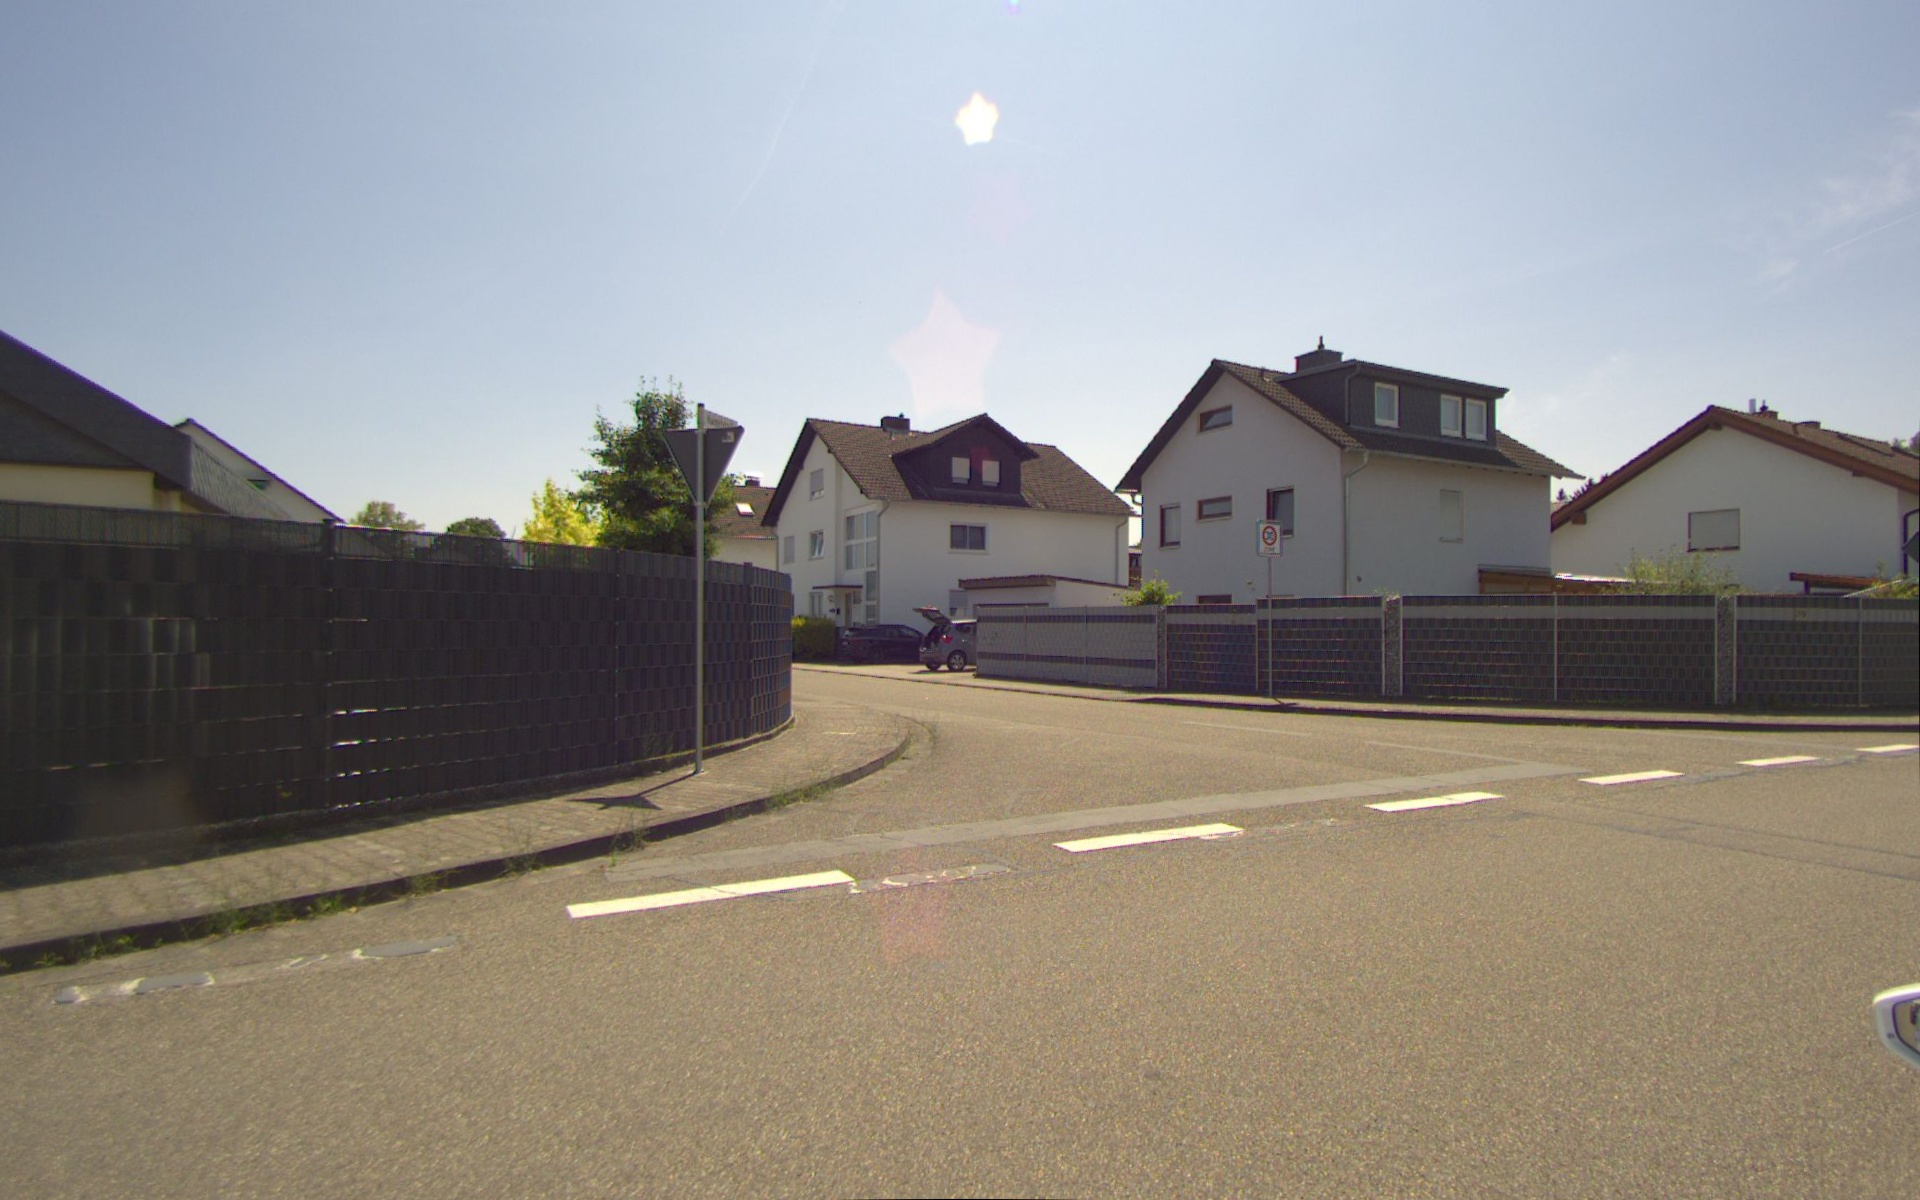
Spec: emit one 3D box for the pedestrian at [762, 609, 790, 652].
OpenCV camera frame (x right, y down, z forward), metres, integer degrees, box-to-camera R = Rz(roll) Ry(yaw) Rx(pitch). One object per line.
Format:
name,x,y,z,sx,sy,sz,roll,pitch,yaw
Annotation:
pedestrian,-7.143,1.187,38.914,0.850,1.648,0.662,0,-1,37

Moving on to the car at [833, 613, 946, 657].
car,-2.698,1.335,38.507,3.953,1.617,1.759,1,-1,-30

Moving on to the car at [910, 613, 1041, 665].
car,0.522,1.250,32.843,3.952,1.617,1.759,1,-1,-30
